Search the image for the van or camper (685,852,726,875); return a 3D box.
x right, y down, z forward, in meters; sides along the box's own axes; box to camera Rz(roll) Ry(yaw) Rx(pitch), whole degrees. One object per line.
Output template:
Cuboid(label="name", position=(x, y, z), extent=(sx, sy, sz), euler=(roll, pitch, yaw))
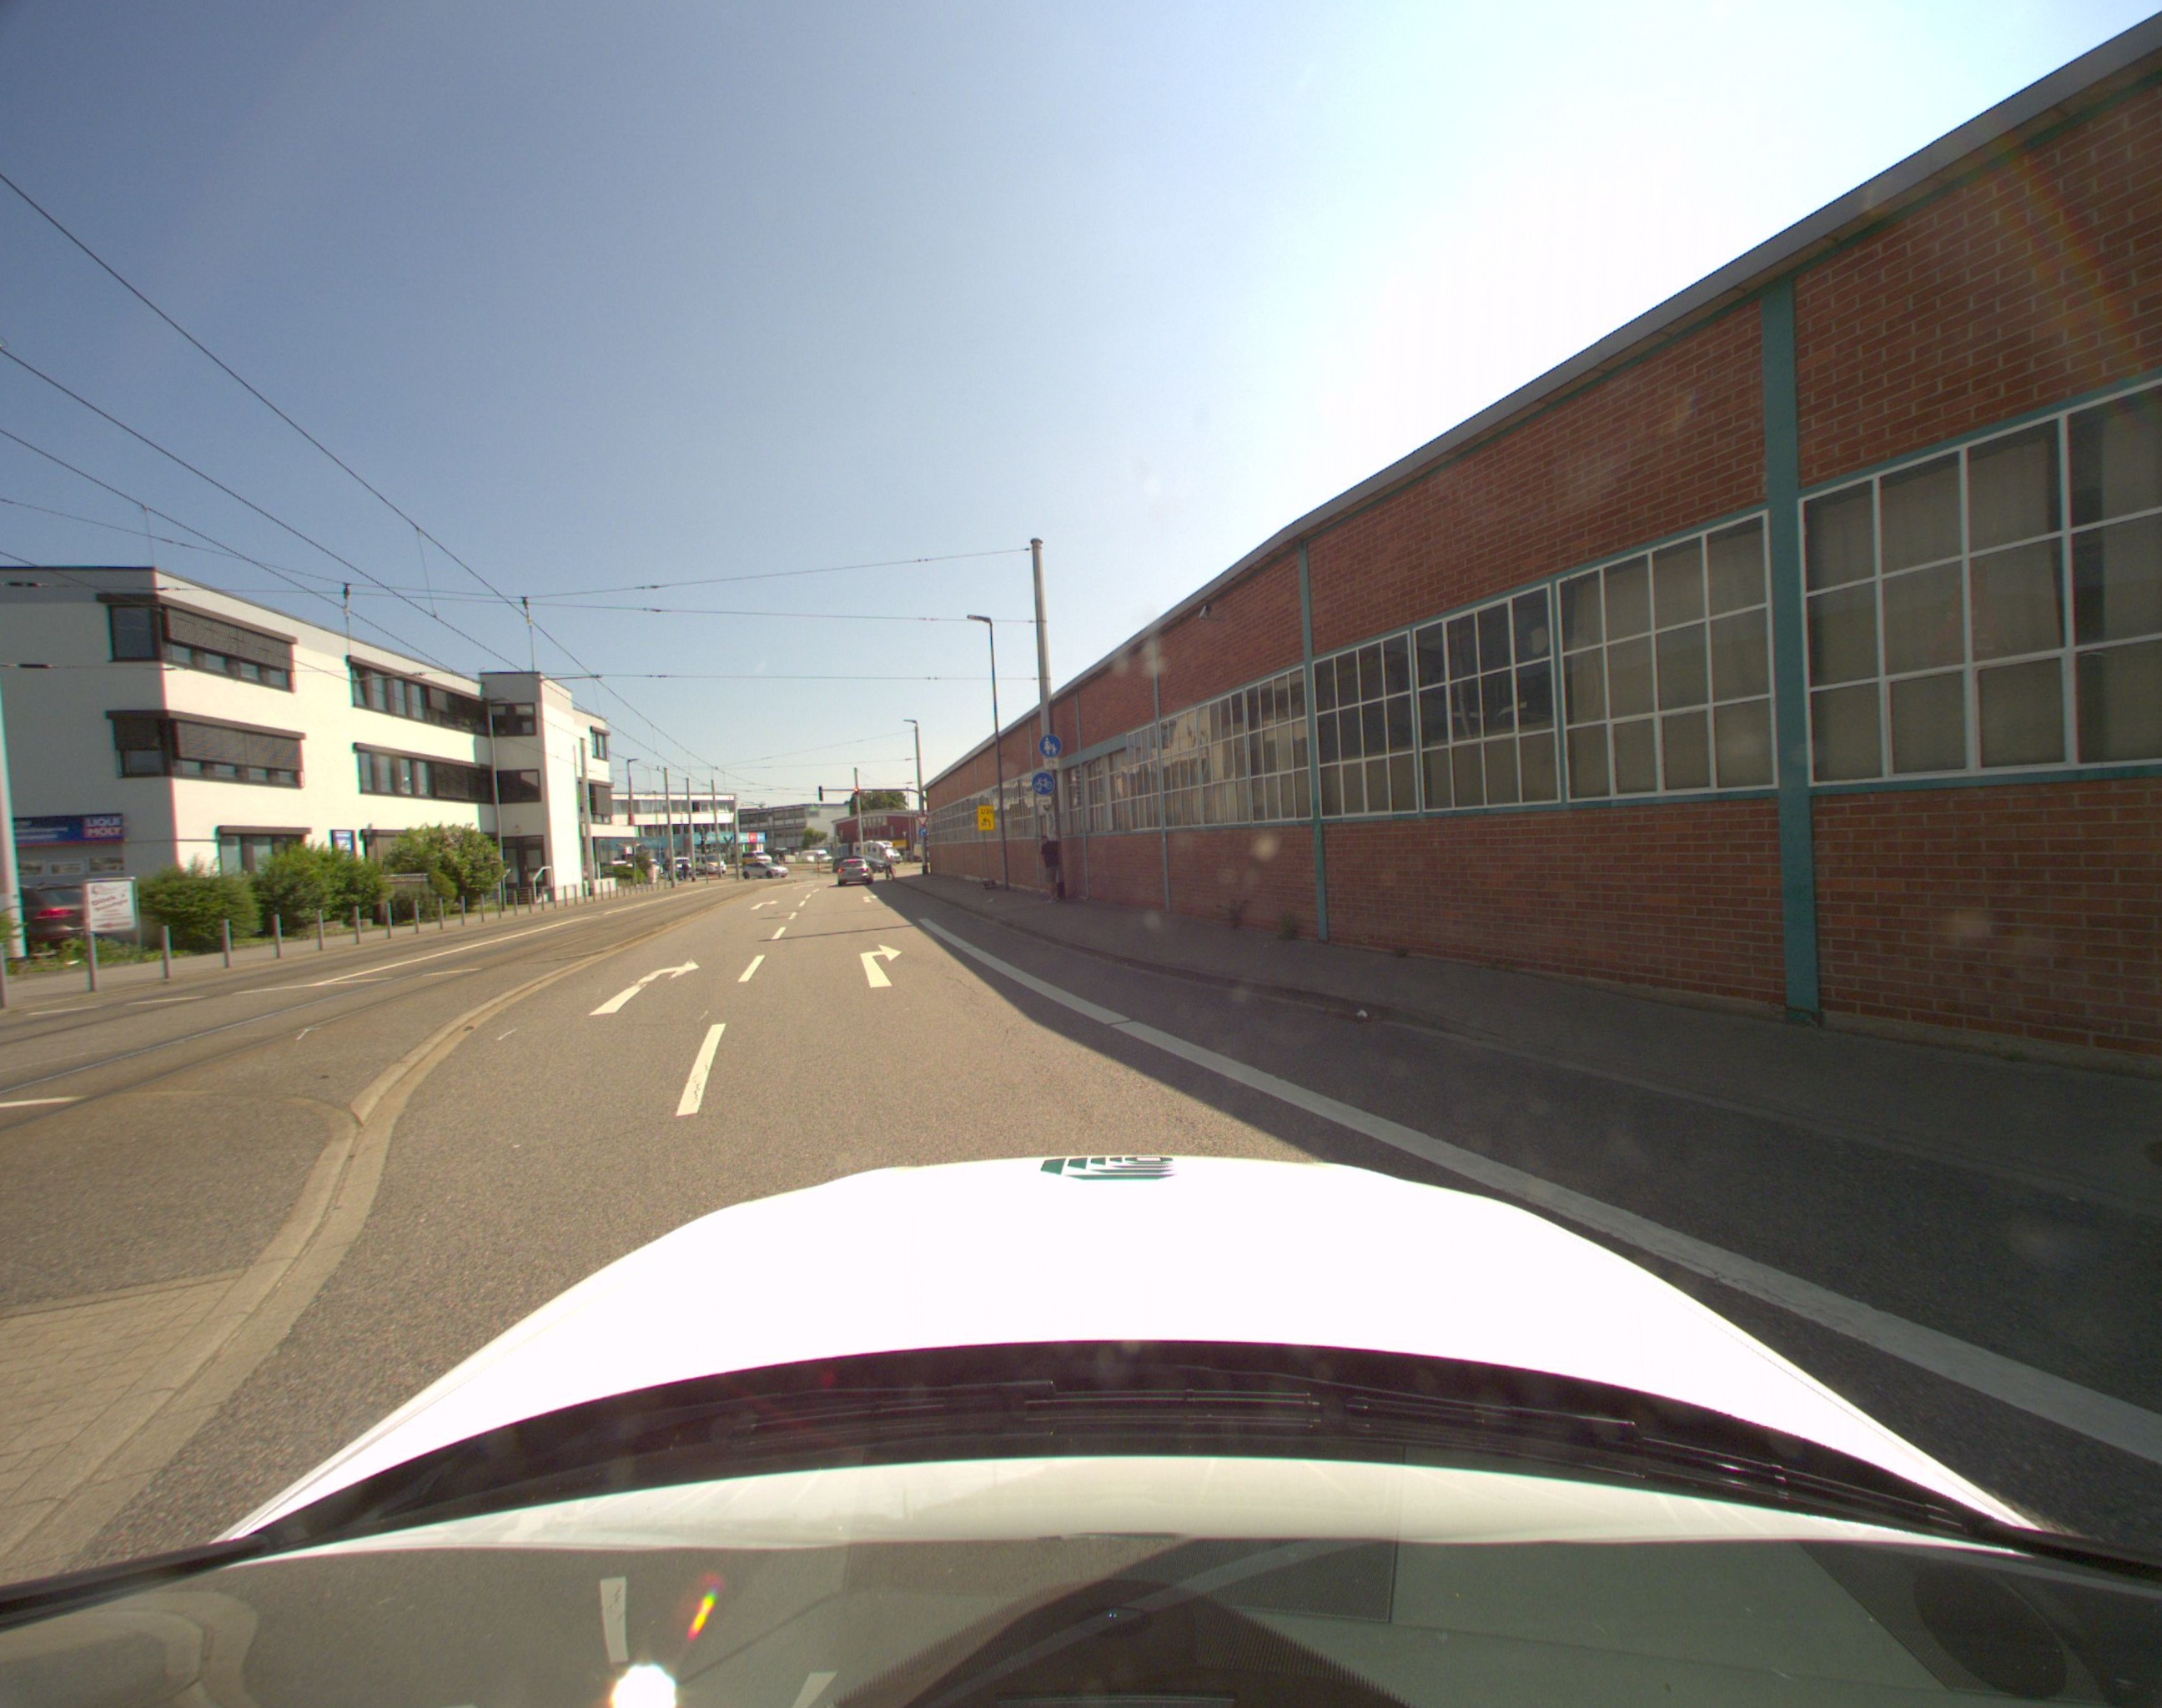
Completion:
Cuboid(label="van or camper", position=(-41.409, 0.967, 89.678), extent=(5.739, 2.295, 2.050), euler=(1, 4, 43))

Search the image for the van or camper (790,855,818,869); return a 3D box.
Cuboid(label="van or camper", position=(-44.437, 1.235, 130.684), extent=(3.949, 1.947, 2.012), euler=(-3, 1, 27))

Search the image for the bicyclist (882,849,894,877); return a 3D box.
Cuboid(label="bicyclist", position=(-12.807, 0.587, 54.057), extent=(0.709, 1.810, 0.978), euler=(-3, 1, -14))

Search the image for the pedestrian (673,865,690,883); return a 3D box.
Cuboid(label="pedestrian", position=(-33.357, 1.679, 67.993), extent=(1.136, 1.454, 0.830), euler=(-4, 1, -26))

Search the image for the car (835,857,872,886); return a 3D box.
Cuboid(label="car", position=(-13.045, 0.959, 46.799), extent=(1.748, 1.459, 3.983), euler=(-3, 1, -13))

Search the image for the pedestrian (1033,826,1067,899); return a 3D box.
Cuboid(label="pedestrian", position=(-0.770, 0.196, 20.287), extent=(0.687, 1.764, 0.446), euler=(-3, 3, -22))

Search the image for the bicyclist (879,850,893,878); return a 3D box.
Cuboid(label="bicyclist", position=(-12.359, 0.654, 51.686), extent=(0.787, 1.721, 1.142), euler=(-3, 1, -13))

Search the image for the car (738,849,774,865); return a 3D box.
Cuboid(label="car", position=(-41.509, 0.356, 104.000), extent=(5.056, 1.759, 1.957), euler=(-3, 1, 40))

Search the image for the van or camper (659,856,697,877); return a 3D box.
Cuboid(label="van or camper", position=(-43.432, 1.275, 87.760), extent=(4.947, 2.013, 2.013), euler=(1, 4, 43))

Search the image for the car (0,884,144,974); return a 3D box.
Cuboid(label="car", position=(-23.456, 1.670, 17.391), extent=(3.995, 1.705, 1.990), euler=(-4, 1, -15))

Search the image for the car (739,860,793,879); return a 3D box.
Cuboid(label="car", position=(-27.432, 1.366, 70.943), extent=(4.156, 1.374, 1.812), euler=(-3, 1, 19))

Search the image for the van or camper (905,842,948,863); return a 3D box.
Cuboid(label="van or camper", position=(-19.856, -0.202, 104.423), extent=(5.317, 2.439, 2.305), euler=(2, 5, 37))

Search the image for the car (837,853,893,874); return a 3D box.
Cuboid(label="car", position=(-17.842, 0.763, 67.385), extent=(3.970, 1.508, 1.881), euler=(-3, 1, 3))

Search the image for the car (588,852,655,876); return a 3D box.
Cuboid(label="car", position=(-35.355, 0.753, 62.772), extent=(3.993, 1.518, 1.991), euler=(-3, 3, -14))

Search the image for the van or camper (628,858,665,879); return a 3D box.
Cuboid(label="van or camper", position=(-46.135, 1.503, 86.459), extent=(4.702, 2.013, 2.013), euler=(1, 4, 43))

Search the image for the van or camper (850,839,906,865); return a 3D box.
Cuboid(label="van or camper", position=(-25.073, -0.245, 100.657), extent=(6.896, 2.929, 2.369), euler=(0, 3, 31))

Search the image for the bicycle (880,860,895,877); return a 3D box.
Cuboid(label="bicycle", position=(-12.288, 0.902, 51.757), extent=(0.795, 1.021, 2.141), euler=(-3, 1, -12))
